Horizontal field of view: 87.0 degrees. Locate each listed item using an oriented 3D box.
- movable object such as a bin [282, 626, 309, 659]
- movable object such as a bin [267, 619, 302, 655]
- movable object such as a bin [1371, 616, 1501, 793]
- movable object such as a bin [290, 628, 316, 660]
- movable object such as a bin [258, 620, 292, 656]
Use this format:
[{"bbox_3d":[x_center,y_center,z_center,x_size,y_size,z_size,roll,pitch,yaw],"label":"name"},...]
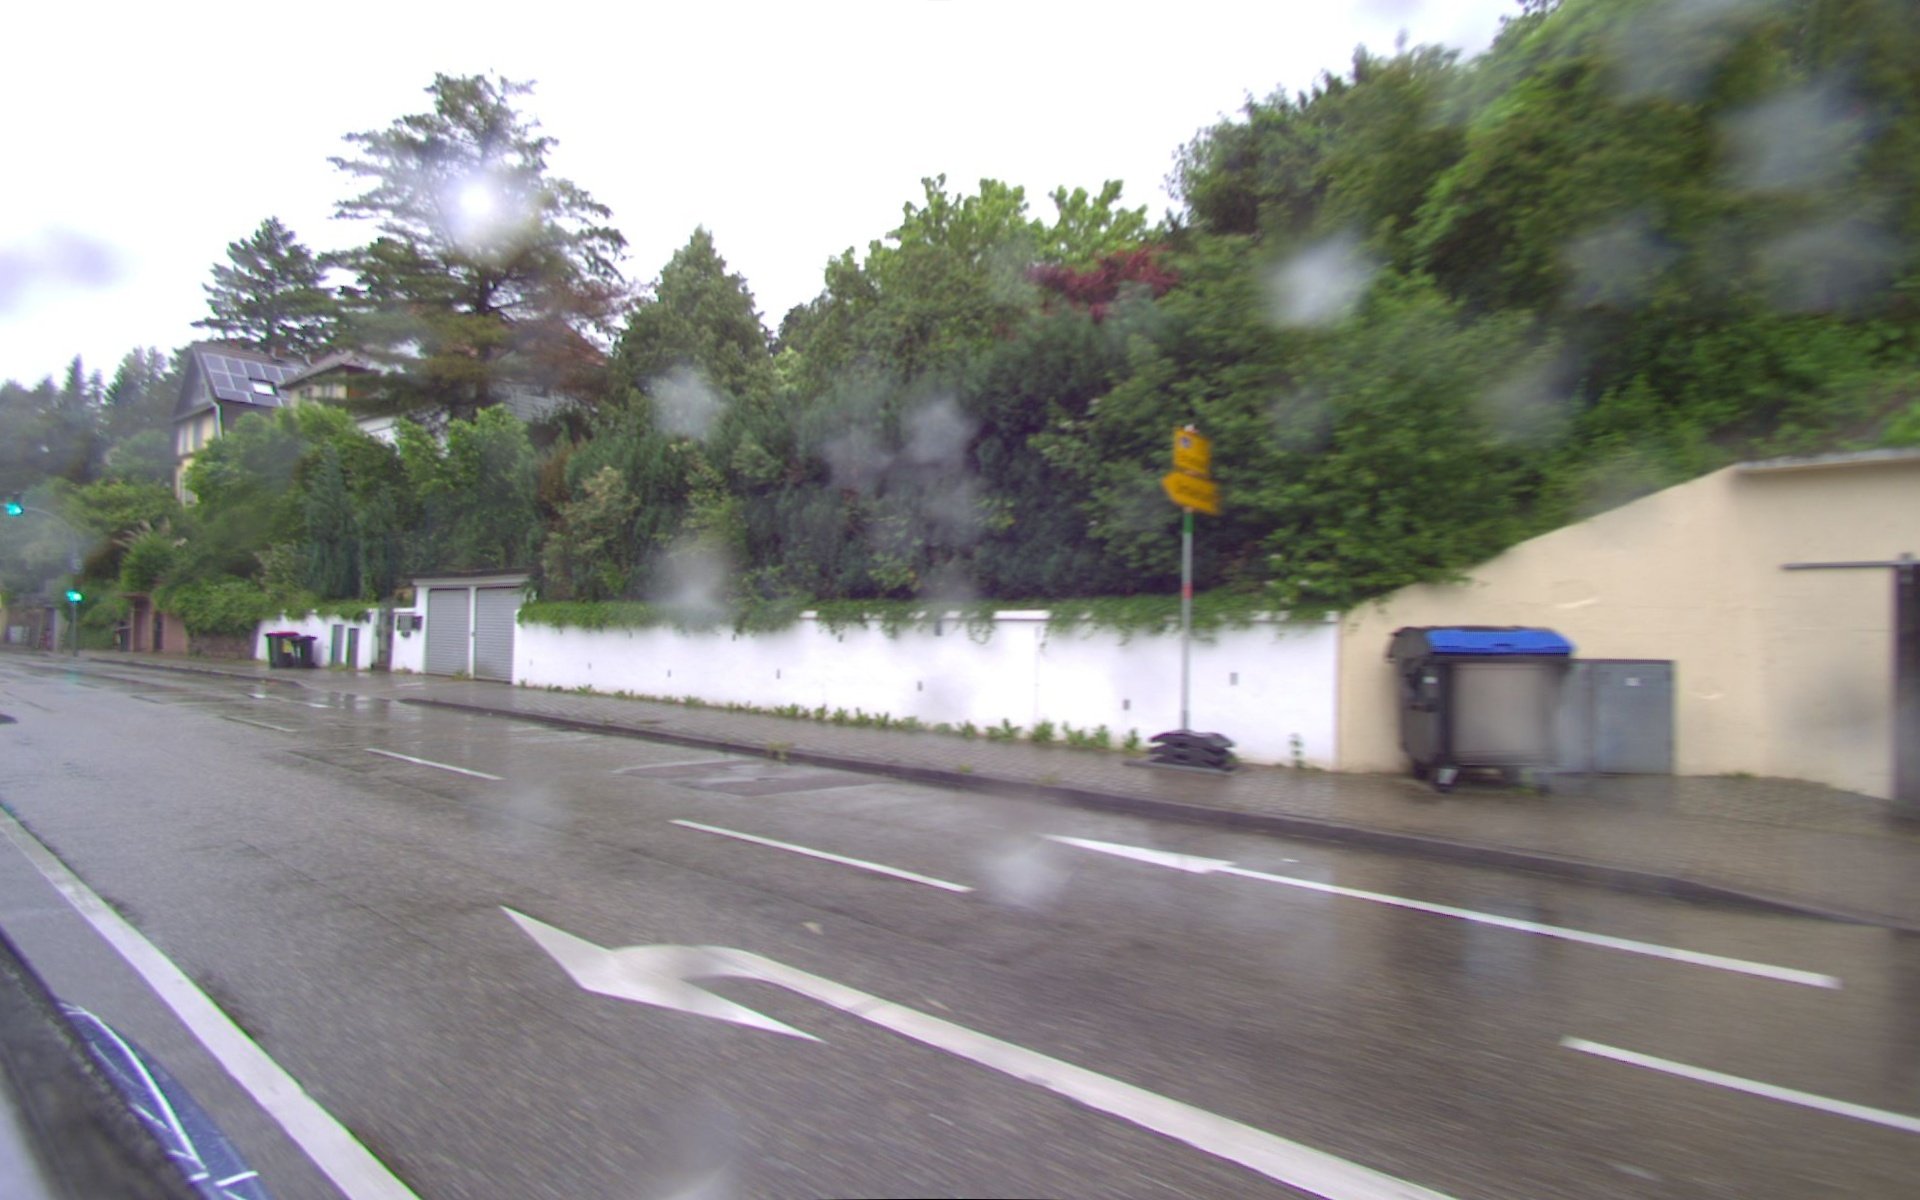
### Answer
[{"bbox_3d":[-19.311,1.224,29.405,0.416,0.947,0.537,-1,-2,38],"label":"movable object such as a bin"},{"bbox_3d":[-19.944,1.097,29.884,0.656,1.048,0.674,-1,-2,38],"label":"movable object such as a bin"},{"bbox_3d":[4.314,0.890,9.158,0.861,1.456,0.923,1,1,40],"label":"movable object such as a bin"},{"bbox_3d":[-18.911,1.250,29.136,0.416,0.905,0.526,-1,-2,38],"label":"movable object such as a bin"},{"bbox_3d":[-20.614,1.131,30.467,0.656,1.048,0.674,-1,-2,38],"label":"movable object such as a bin"}]
